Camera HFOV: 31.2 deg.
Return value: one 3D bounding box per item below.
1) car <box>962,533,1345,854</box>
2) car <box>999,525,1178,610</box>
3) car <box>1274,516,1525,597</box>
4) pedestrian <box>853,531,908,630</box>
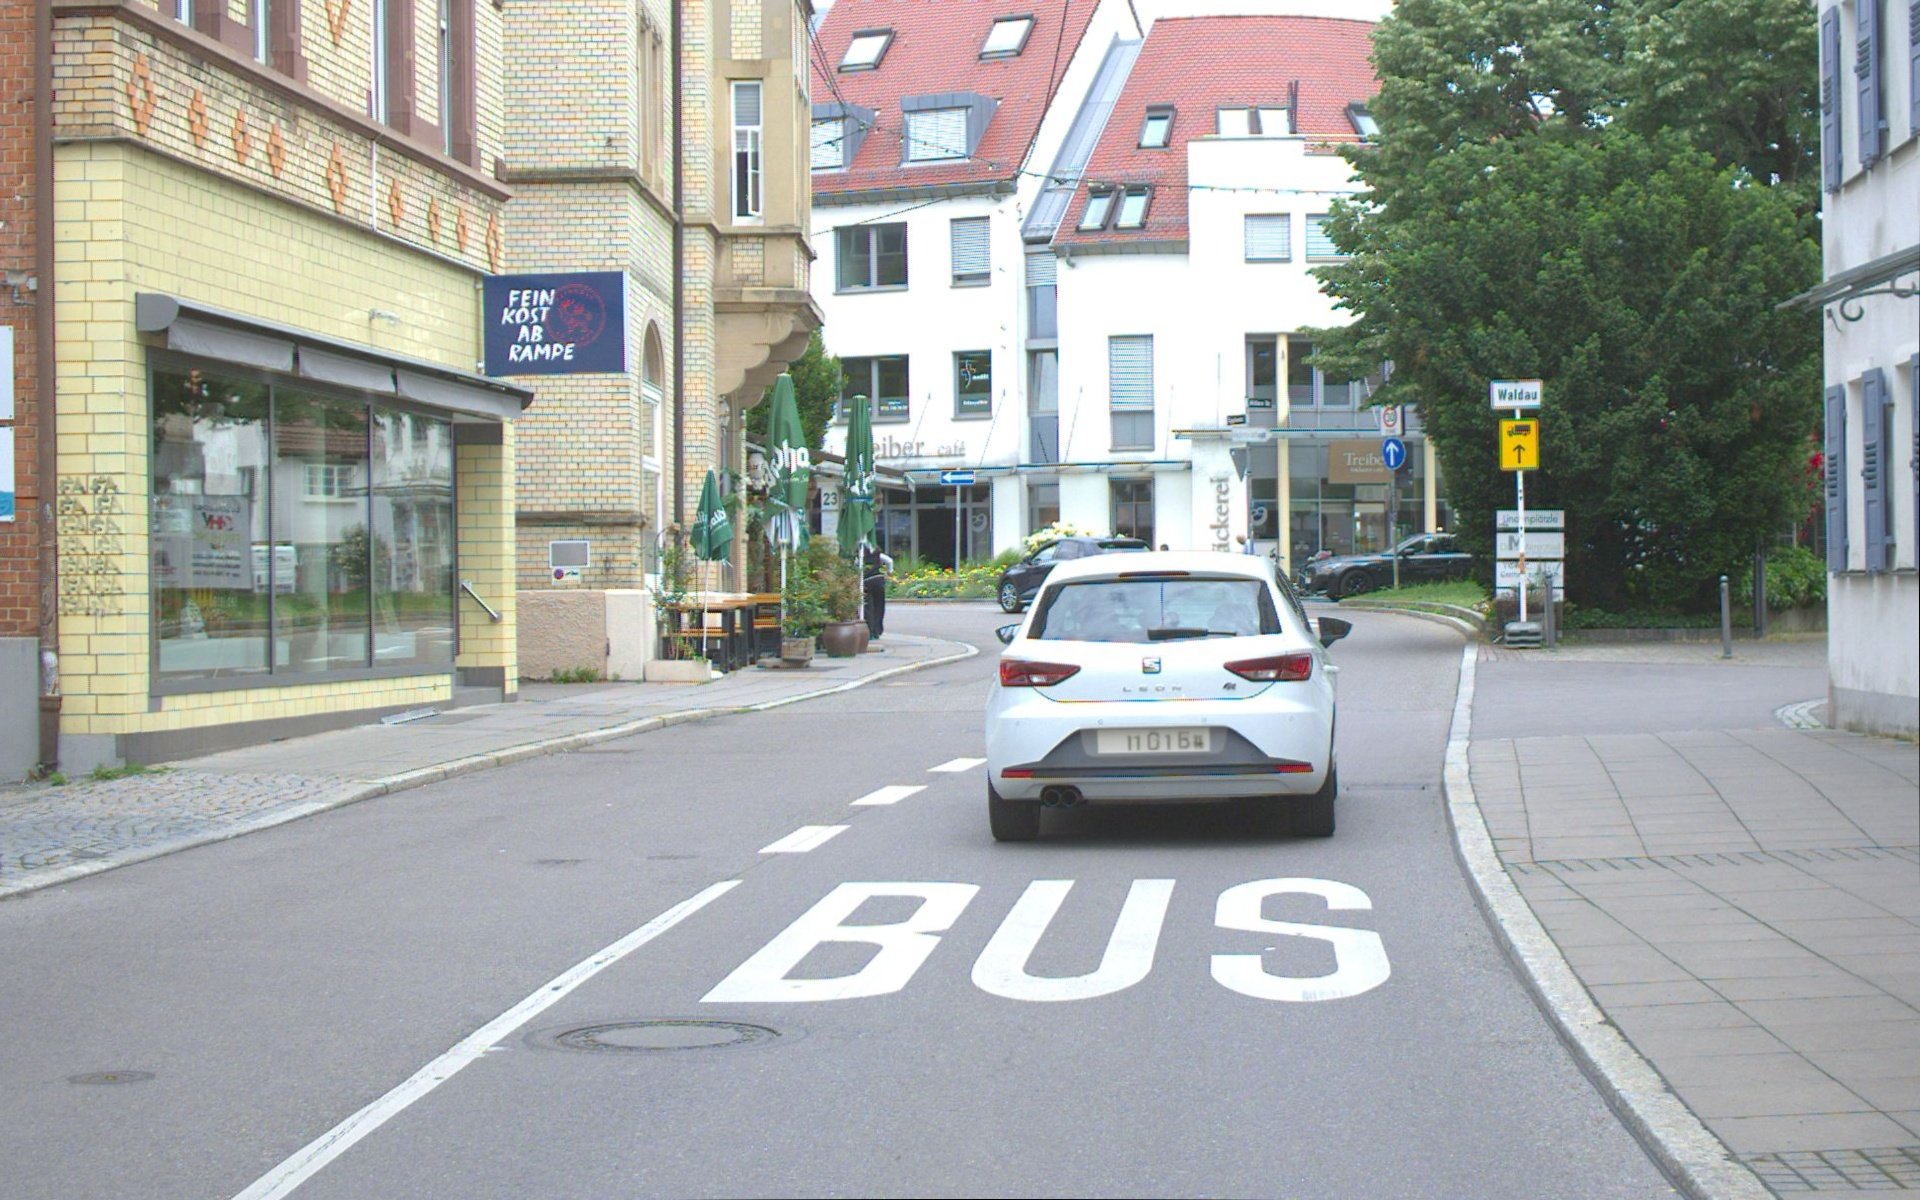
[{"bbox_3d":[1.110,0.414,18.328,1.812,1.475,3.870,0,2,6],"label":"car"},{"bbox_3d":[2.319,-0.622,63.030,1.811,1.475,3.871,-1,2,-23],"label":"car"},{"bbox_3d":[8.748,-0.878,68.864,4.903,1.552,2.249,0,1,5],"label":"car"},{"bbox_3d":[-1.248,-0.307,53.916,0.834,1.546,0.627,-1,1,-1],"label":"pedestrian"}]
